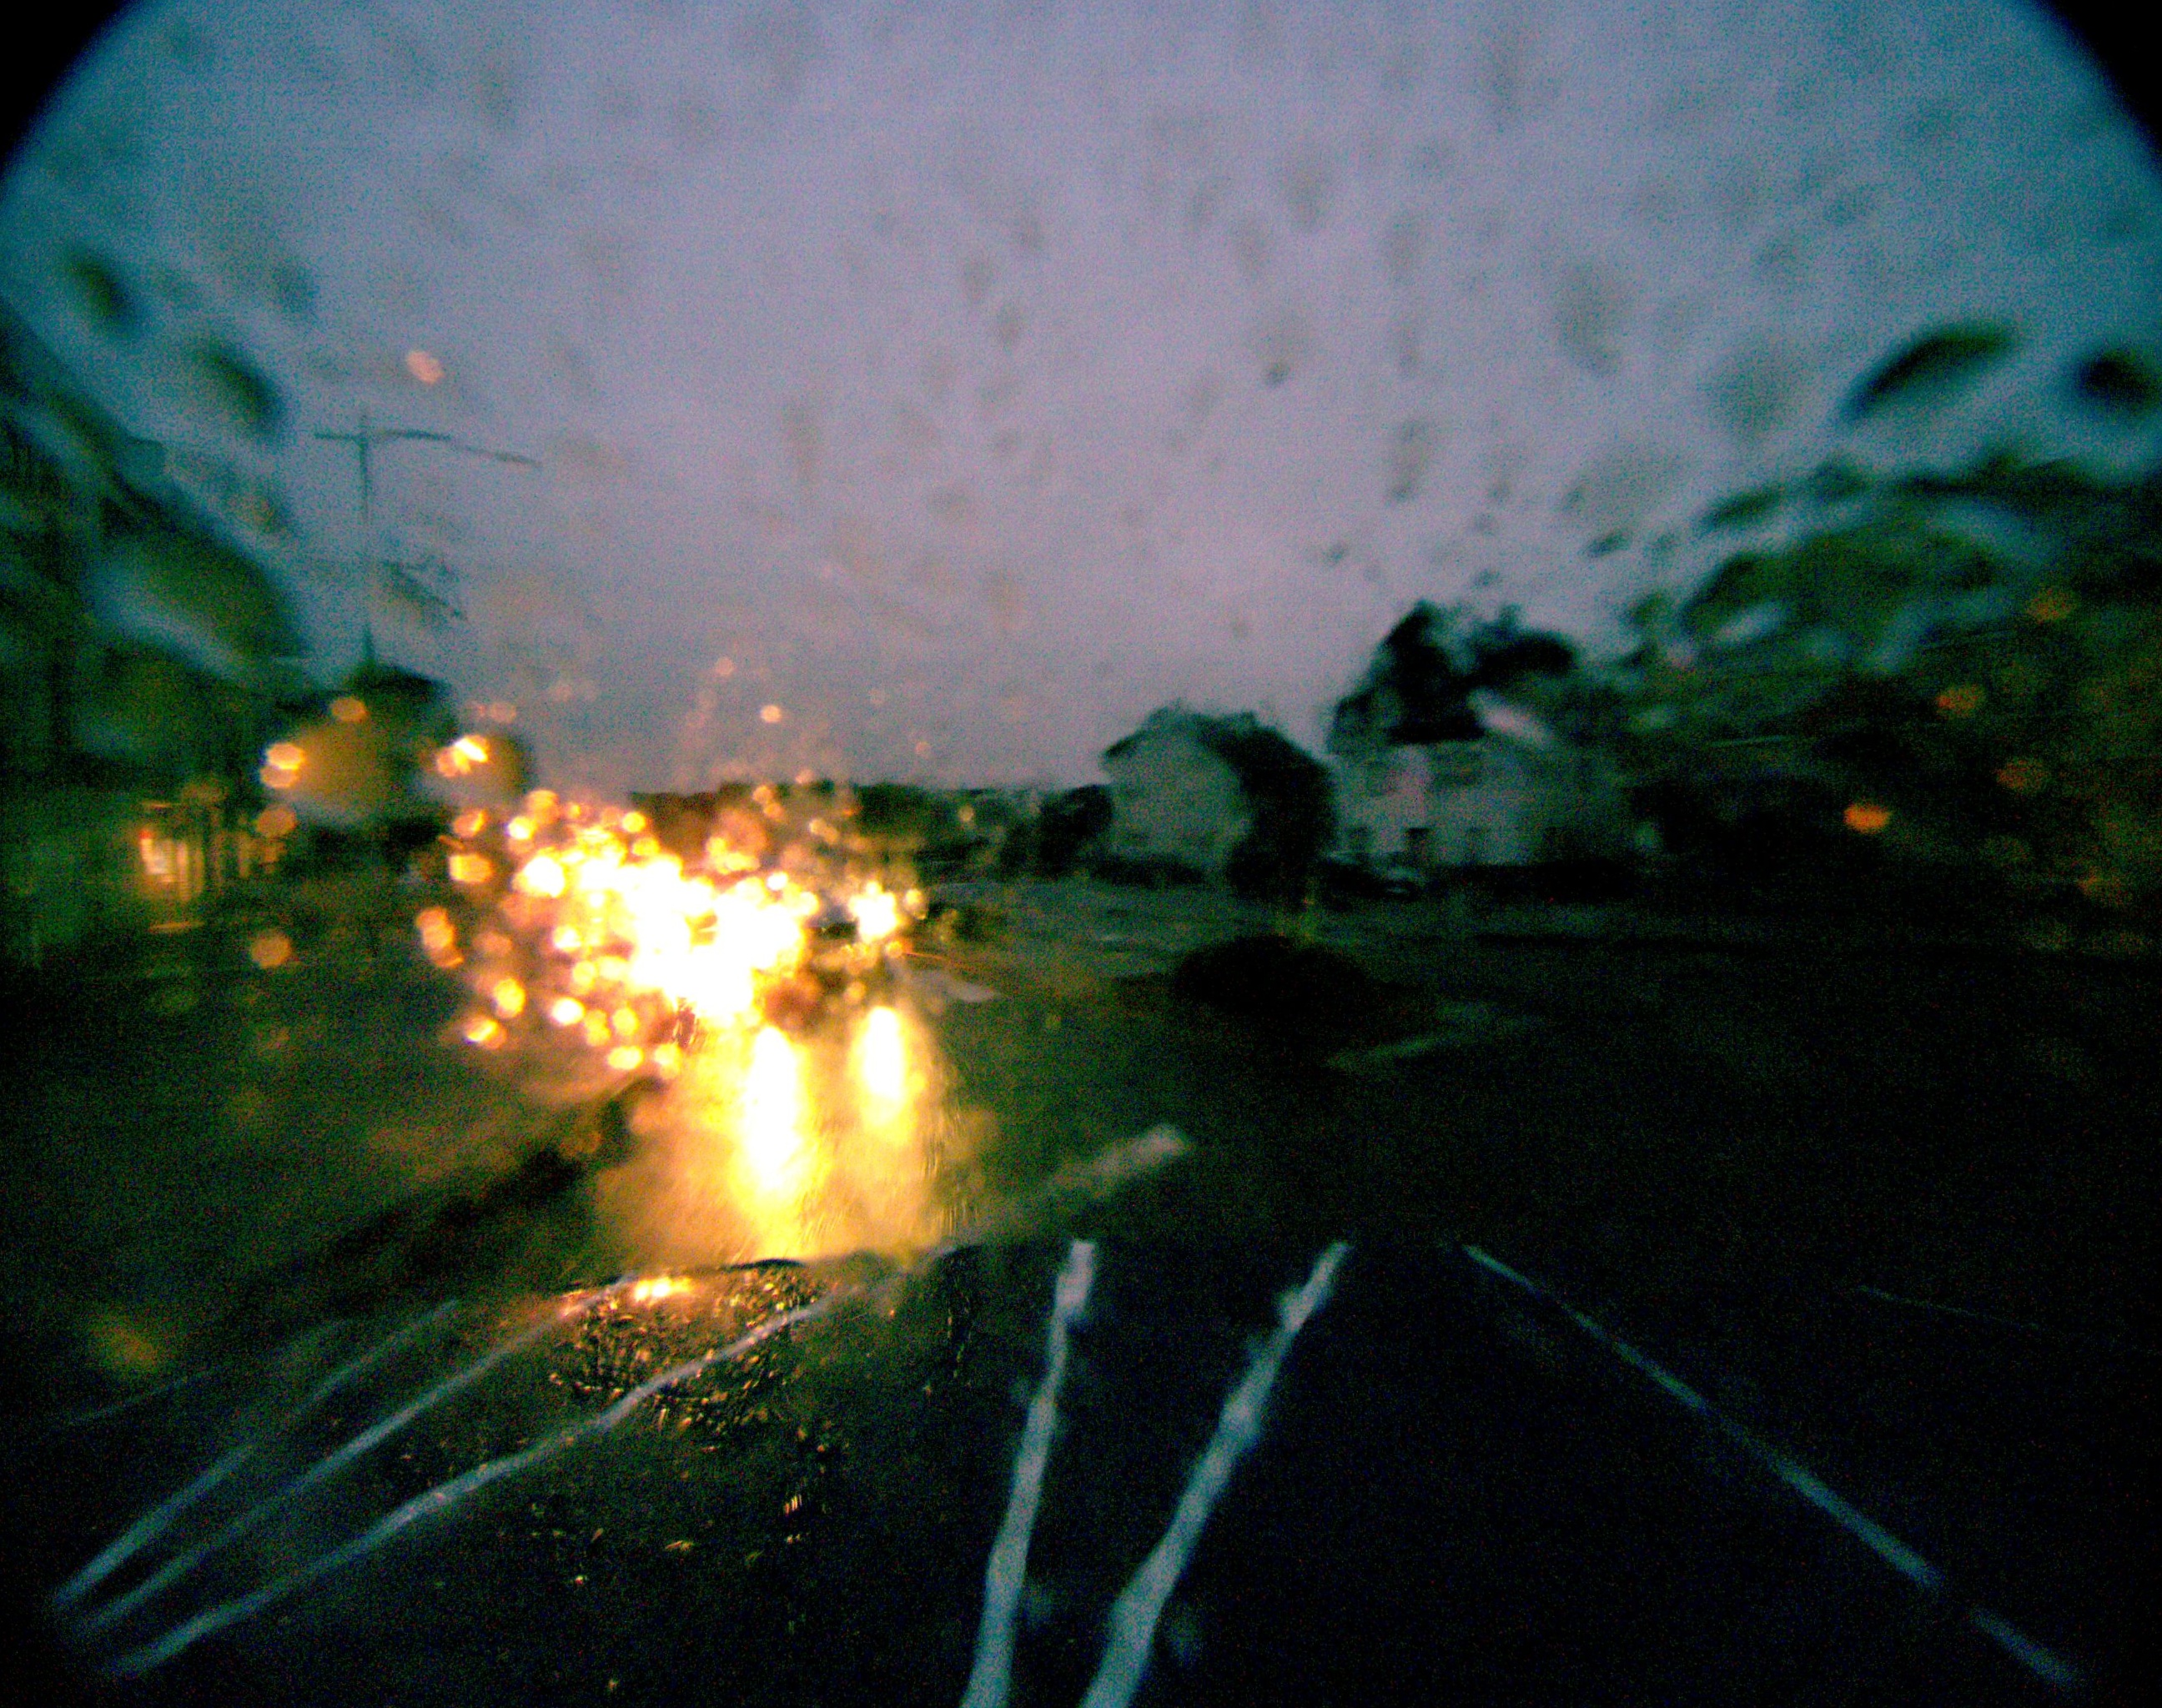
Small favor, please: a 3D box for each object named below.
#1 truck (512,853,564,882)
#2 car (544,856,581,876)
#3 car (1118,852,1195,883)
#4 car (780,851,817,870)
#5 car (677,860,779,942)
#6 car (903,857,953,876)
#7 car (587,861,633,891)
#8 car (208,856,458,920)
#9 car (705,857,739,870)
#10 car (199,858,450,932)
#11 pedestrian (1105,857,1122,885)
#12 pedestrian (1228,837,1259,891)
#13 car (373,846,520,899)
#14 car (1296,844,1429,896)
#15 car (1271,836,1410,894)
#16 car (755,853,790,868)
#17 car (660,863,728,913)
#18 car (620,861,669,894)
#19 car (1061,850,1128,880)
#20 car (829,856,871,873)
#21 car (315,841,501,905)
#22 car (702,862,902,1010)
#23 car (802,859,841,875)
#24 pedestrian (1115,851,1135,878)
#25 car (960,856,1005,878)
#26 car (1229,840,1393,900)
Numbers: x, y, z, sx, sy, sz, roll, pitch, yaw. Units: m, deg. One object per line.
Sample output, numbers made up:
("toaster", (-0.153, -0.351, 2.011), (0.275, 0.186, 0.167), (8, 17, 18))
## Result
("truck", (-44.136, 1.066, 61.690), (6.086, 2.218, 2.253), (0, 2, 44))
("car", (-53.718, 1.206, 78.725), (3.988, 2.002, 2.004), (-1, 2, 38))
("car", (4.030, 0.691, 41.233), (1.783, 1.560, 4.082), (-3, 2, -39))
("car", (-28.560, 0.611, 76.687), (4.245, 1.816, 1.804), (0, 1, 44))
("car", (-8.240, 0.985, 17.544), (1.685, 1.614, 3.991), (-2, 0, -31))
("car", (-12.234, 0.992, 60.534), (4.245, 1.460, 1.804), (0, 1, 44))
("car", (-28.013, 1.264, 45.113), (1.838, 1.536, 3.704), (-3, 3, -38))
("car", (-19.642, 0.874, 20.303), (4.532, 1.483, 1.969), (2, 0, -38))
("car", (-41.852, 1.071, 88.559), (4.603, 1.460, 1.804), (0, 1, 40))
("car", (-17.514, 0.889, 17.866), (4.009, 1.494, 1.808), (1, 1, -43))
("pedestrian", (1.509, 0.783, 35.216), (0.601, 1.294, 0.512), (-1, 1, 20))
("pedestrian", (5.272, 0.320, 24.615), (0.839, 1.701, 0.725), (-1, 0, 25))
("car", (-24.693, 0.768, 29.680), (4.163, 1.624, 1.750), (8, -6, -42))
("car", (9.435, 0.545, 25.466), (3.990, 1.621, 1.768), (-1, -1, 27))
("car", (7.936, 0.361, 23.264), (3.887, 1.660, 1.844), (-1, -1, 23))
("car", (-32.789, 0.708, 80.683), (4.006, 1.460, 1.680), (-1, -1, 40))
("car", (-12.938, 1.070, 25.291), (1.575, 1.460, 3.607), (-3, 2, -33))
("car", (-21.531, 1.108, 37.417), (1.745, 1.435, 3.990), (-3, 2, -34))
("car", (0.761, 0.613, 45.191), (1.707, 1.651, 3.948), (-3, 2, -42))
("car", (-21.205, 0.928, 69.612), (4.245, 1.460, 1.804), (0, 1, 44))
("car", (-22.992, 0.699, 26.268), (4.564, 1.922, 1.970), (4, -3, -36))
("car", (-4.104, 0.949, 10.740), (1.892, 1.570, 3.990), (-3, 1, -31))
("car", (-25.098, 1.191, 73.320), (4.245, 1.460, 1.804), (0, 1, 44))
("pedestrian", (2.103, 0.494, 35.974), (0.694, 1.242, 0.601), (-2, 1, -37))
("car", (-7.096, 0.931, 54.662), (1.482, 1.500, 3.493), (-1, 1, -43))
("car", (6.344, 0.420, 21.058), (4.171, 1.522, 1.916), (-1, 1, 19))
